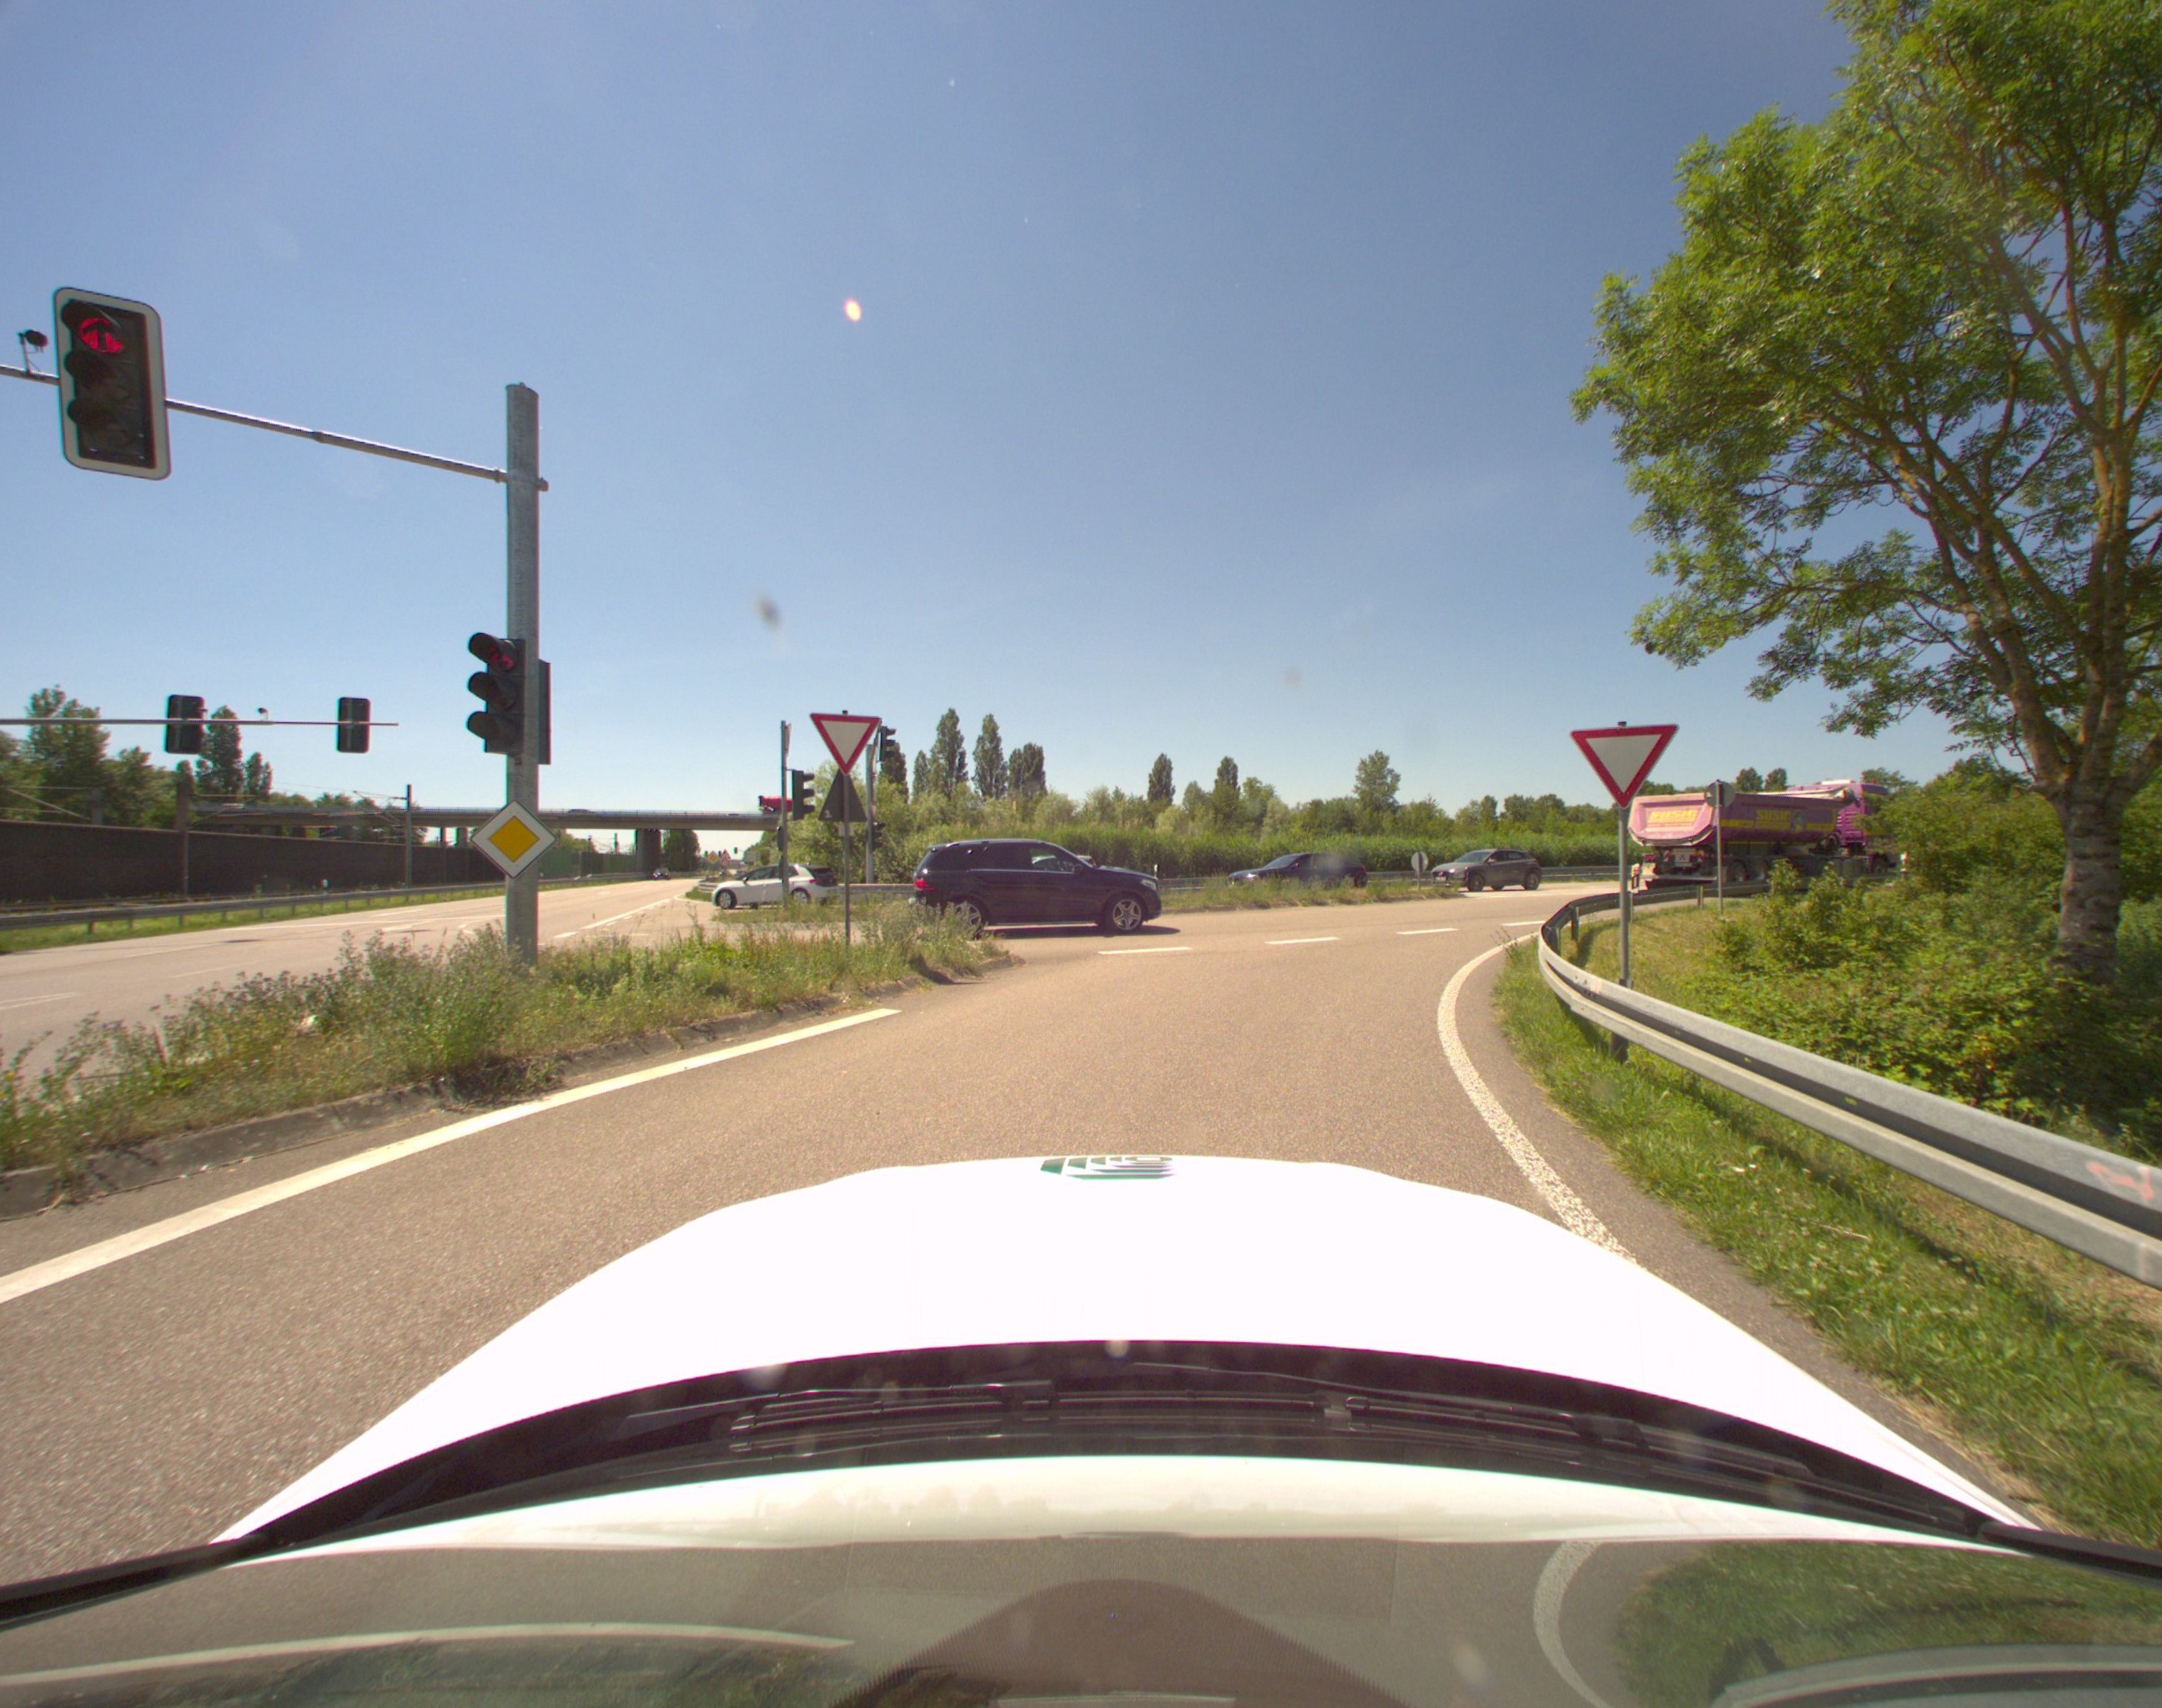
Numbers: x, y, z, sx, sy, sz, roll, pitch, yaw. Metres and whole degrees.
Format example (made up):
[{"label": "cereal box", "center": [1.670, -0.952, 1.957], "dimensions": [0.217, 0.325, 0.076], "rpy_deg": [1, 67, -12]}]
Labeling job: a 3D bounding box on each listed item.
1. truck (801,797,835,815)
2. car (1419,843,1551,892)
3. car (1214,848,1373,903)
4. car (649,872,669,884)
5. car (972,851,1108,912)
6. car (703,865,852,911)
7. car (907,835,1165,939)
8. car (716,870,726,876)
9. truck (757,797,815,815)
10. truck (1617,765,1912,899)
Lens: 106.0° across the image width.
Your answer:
[{"label": "truck", "center": [-41.819, -7.648, 129.704], "dimensions": [5.102, 2.674, 1.989], "rpy_deg": [-2, 0, -17]}, {"label": "car", "center": [14.900, 0.475, 30.056], "dimensions": [4.238, 1.632, 1.921], "rpy_deg": [-2, 0, -20]}, {"label": "car", "center": [7.183, 0.684, 27.587], "dimensions": [4.940, 1.632, 1.921], "rpy_deg": [-2, 0, -19]}, {"label": "car", "center": [-57.475, 3.270, 110.998], "dimensions": [2.001, 1.398, 4.374], "rpy_deg": [-1, 0, -21]}, {"label": "car", "center": [-1.236, 0.773, 24.439], "dimensions": [3.720, 1.632, 1.722], "rpy_deg": [-2, 0, -21]}, {"label": "car", "center": [-10.409, 1.150, 28.097], "dimensions": [4.365, 1.398, 2.006], "rpy_deg": [-2, 0, 10]}, {"label": "car", "center": [-0.889, 0.556, 15.412], "dimensions": [4.582, 1.768, 1.927], "rpy_deg": [0, 0, -10]}, {"label": "car", "center": [-92.018, 4.826, 208.064], "dimensions": [2.001, 1.398, 4.374], "rpy_deg": [-1, 0, -21]}, {"label": "truck", "center": [-46.363, -7.505, 128.194], "dimensions": [8.527, 2.674, 1.986], "rpy_deg": [-2, 0, -21]}, {"label": "truck", "center": [22.932, -0.740, 27.045], "dimensions": [11.907, 3.821, 2.818], "rpy_deg": [-1, 0, -26]}]
